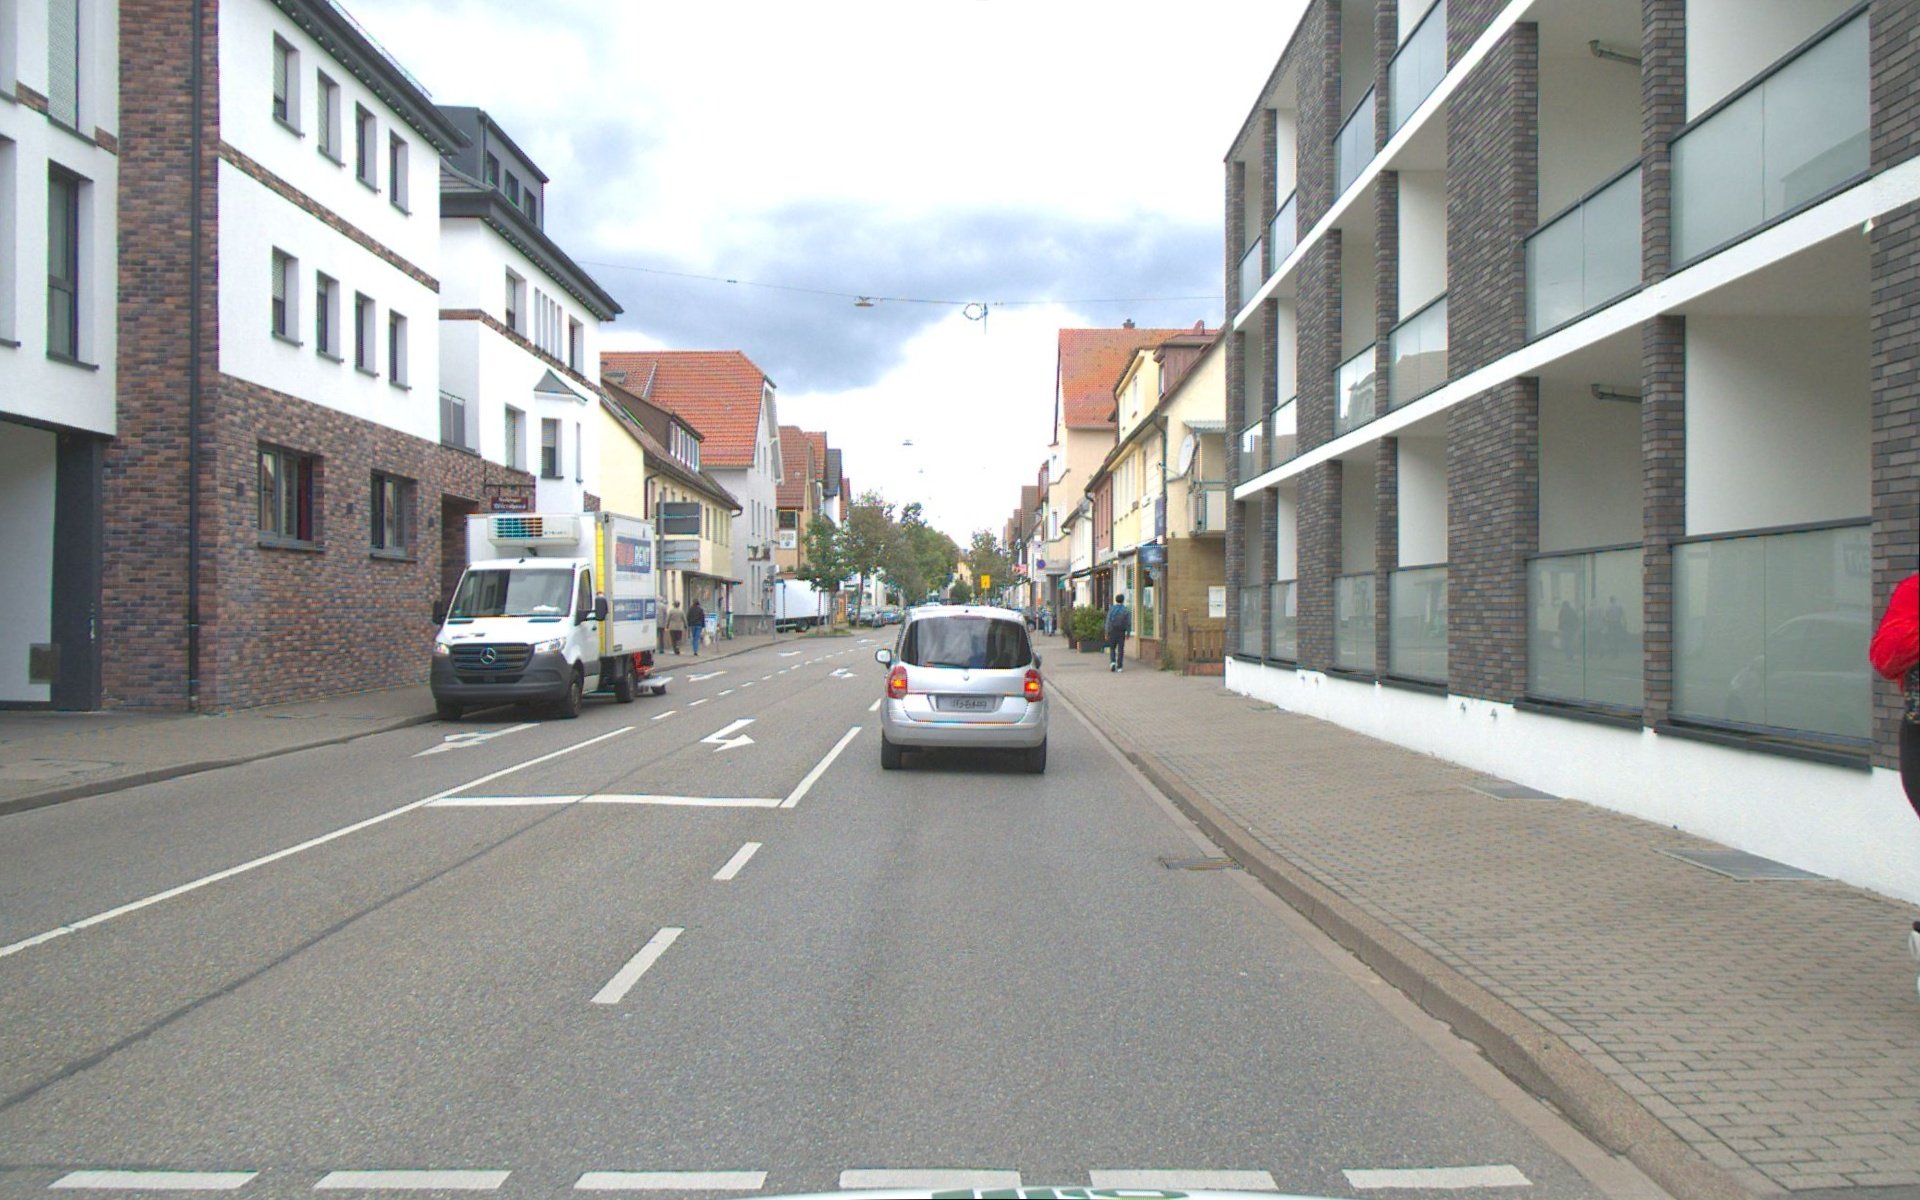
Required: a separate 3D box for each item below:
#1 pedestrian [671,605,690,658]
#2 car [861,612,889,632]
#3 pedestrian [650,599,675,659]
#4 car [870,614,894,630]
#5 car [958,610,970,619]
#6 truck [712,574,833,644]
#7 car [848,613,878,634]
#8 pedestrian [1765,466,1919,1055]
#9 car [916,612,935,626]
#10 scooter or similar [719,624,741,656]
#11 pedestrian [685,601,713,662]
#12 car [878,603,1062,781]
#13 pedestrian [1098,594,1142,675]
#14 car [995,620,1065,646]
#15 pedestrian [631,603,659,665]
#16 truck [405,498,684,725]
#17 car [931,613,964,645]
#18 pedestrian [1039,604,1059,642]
[{"bbox_3d":[-8.411,0.942,49.724,0.417,1.552,0.553,2,-1,0],"label":"pedestrian"},{"bbox_3d":[-6.068,1.592,118.535,1.775,1.378,4.000,-1,0,0],"label":"car"},{"bbox_3d":[-8.977,0.868,49.881,0.567,1.787,0.687,2,-1,0],"label":"pedestrian"},{"bbox_3d":[-6.614,1.852,140.075,1.775,1.378,4.000,-1,0,0],"label":"car"},{"bbox_3d":[0.557,2.207,247.441,1.775,1.378,4.000,-1,0,0],"label":"car"},{"bbox_3d":[-10.827,0.500,96.006,6.791,3.925,2.564,0,-1,-43],"label":"truck"},{"bbox_3d":[-6.651,1.624,113.207,1.775,1.378,4.000,-1,0,0],"label":"car"},{"bbox_3d":[3.329,0.482,5.521,0.791,1.818,0.861,-2,-1,0],"label":"pedestrian"},{"bbox_3d":[-3.356,1.843,161.088,1.775,1.378,3.857,-1,0,0],"label":"car"},{"bbox_3d":[-9.803,1.693,70.465,0.563,1.291,2.548,-1,0,0],"label":"scooter or similar"},{"bbox_3d":[-7.794,0.933,49.405,0.649,1.787,0.687,2,-1,0],"label":"pedestrian"},{"bbox_3d":[0.078,0.877,17.504,1.672,1.606,3.999,2,-1,-1],"label":"car"},{"bbox_3d":[3.696,0.790,38.285,0.871,1.818,0.785,-2,-1,0],"label":"pedestrian"},{"bbox_3d":[4.001,1.851,94.133,3.676,1.337,1.511,2,-1,-21],"label":"car"},{"bbox_3d":[-9.255,0.984,48.673,0.634,1.787,0.687,2,-1,0],"label":"pedestrian"},{"bbox_3d":[-6.311,0.183,26.514,2.385,3.005,8.363,-1,-1,-1],"label":"truck"},{"bbox_3d":[-0.655,1.505,87.089,1.672,1.606,3.999,2,-1,-1],"label":"car"},{"bbox_3d":[4.361,1.112,81.294,0.871,1.818,0.785,-2,-1,0],"label":"pedestrian"}]
